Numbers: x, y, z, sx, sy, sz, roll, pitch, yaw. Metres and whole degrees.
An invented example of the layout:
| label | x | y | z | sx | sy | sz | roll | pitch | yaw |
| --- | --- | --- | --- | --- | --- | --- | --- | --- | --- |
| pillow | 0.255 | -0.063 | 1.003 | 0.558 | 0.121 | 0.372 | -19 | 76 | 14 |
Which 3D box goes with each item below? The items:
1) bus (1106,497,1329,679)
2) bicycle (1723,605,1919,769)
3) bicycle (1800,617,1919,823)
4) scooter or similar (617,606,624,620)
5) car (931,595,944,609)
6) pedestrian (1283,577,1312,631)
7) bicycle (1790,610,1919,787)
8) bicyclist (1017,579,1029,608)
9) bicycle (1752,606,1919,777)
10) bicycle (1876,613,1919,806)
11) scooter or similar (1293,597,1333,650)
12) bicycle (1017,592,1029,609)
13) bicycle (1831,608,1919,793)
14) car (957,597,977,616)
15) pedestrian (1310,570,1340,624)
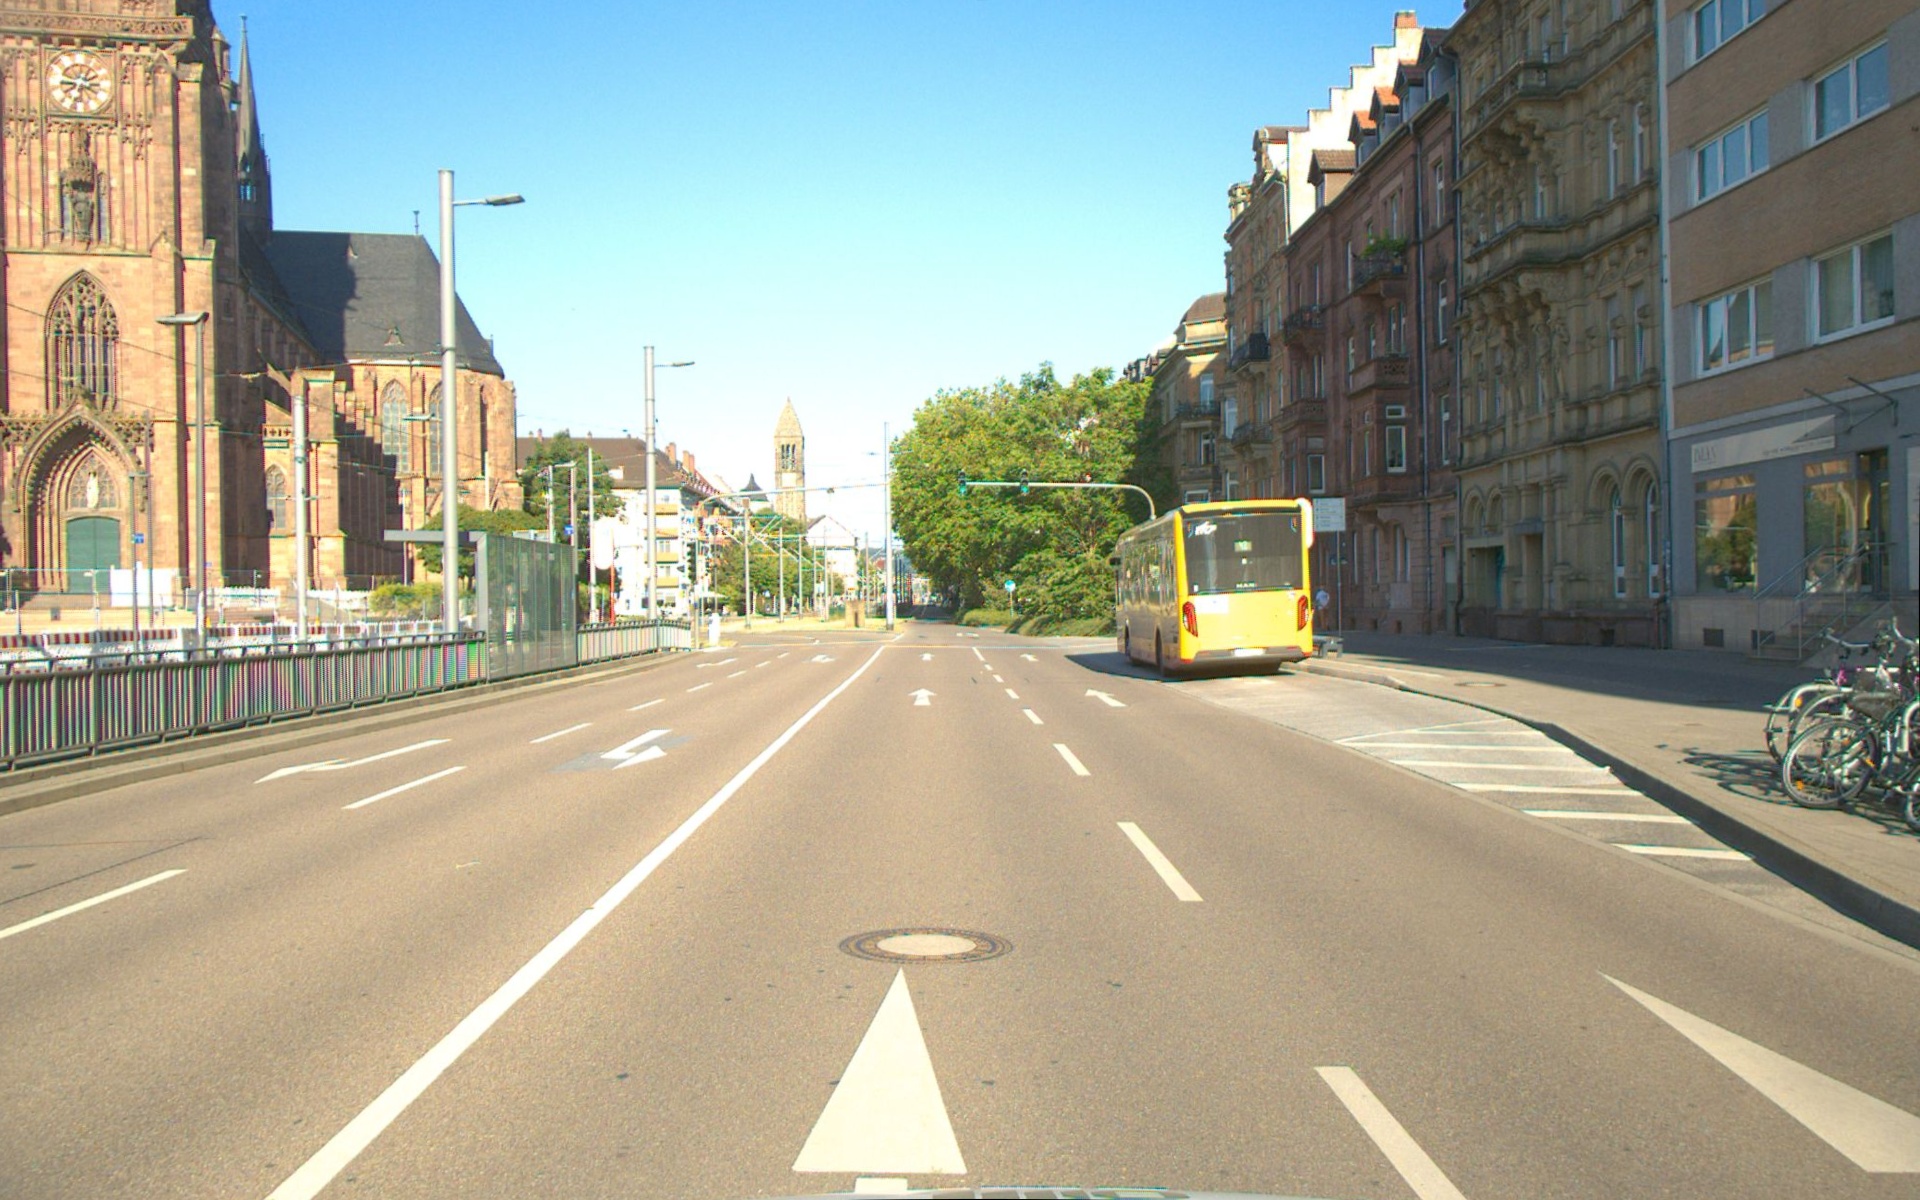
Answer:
| label | x | y | z | sx | sy | sz | roll | pitch | yaw |
| --- | --- | --- | --- | --- | --- | --- | --- | --- | --- |
| bus | 5.292 | -0.237 | 36.650 | 2.660 | 3.236 | 12.538 | -2 | 0 | -1 |
| bicycle | 6.837 | 0.656 | 12.721 | 1.729 | 1.208 | 0.470 | -1 | 1 | -2 |
| bicycle | 5.836 | 0.713 | 10.126 | 0.459 | 1.167 | 1.770 | -1 | 1 | -1 |
| scooter or similar | -32.830 | 1.278 | 159.853 | 0.393 | 1.283 | 1.231 | -2 | 3 | 0 |
| car | -3.371 | 0.296 | 252.085 | 1.953 | 2.144 | 3.999 | 1 | -1 | -1 |
| pedestrian | 12.566 | 0.142 | 61.630 | 0.805 | 1.964 | 1.136 | -2 | 0 | -1 |
| bicycle | 6.875 | 0.681 | 11.724 | 1.755 | 1.208 | 0.470 | -1 | 1 | -2 |
| bicyclist | 4.137 | -0.435 | 108.245 | 0.628 | 1.846 | 1.052 | -2 | -1 | -2 |
| bicycle | 6.829 | 0.661 | 12.226 | 1.729 | 1.208 | 0.470 | -1 | 1 | -2 |
| bicycle | 6.927 | 0.687 | 10.728 | 1.729 | 1.208 | 0.470 | -1 | 1 | -2 |
| scooter or similar | 8.589 | 0.576 | 40.286 | 0.423 | 1.271 | 1.291 | -3 | -1 | -10 |
| bicycle | 4.135 | 0.027 | 108.394 | 0.628 | 1.066 | 2.359 | -2 | -1 | -2 |
| bicycle | 6.901 | 0.661 | 11.234 | 1.729 | 1.208 | 0.470 | -1 | 1 | -2 |
| car | 0.611 | 0.575 | 142.579 | 1.610 | 1.537 | 4.182 | -2 | 0 | -1 |
| pedestrian | 13.627 | -0.121 | 61.791 | 0.805 | 1.964 | 1.136 | -2 | 0 | -1 |
